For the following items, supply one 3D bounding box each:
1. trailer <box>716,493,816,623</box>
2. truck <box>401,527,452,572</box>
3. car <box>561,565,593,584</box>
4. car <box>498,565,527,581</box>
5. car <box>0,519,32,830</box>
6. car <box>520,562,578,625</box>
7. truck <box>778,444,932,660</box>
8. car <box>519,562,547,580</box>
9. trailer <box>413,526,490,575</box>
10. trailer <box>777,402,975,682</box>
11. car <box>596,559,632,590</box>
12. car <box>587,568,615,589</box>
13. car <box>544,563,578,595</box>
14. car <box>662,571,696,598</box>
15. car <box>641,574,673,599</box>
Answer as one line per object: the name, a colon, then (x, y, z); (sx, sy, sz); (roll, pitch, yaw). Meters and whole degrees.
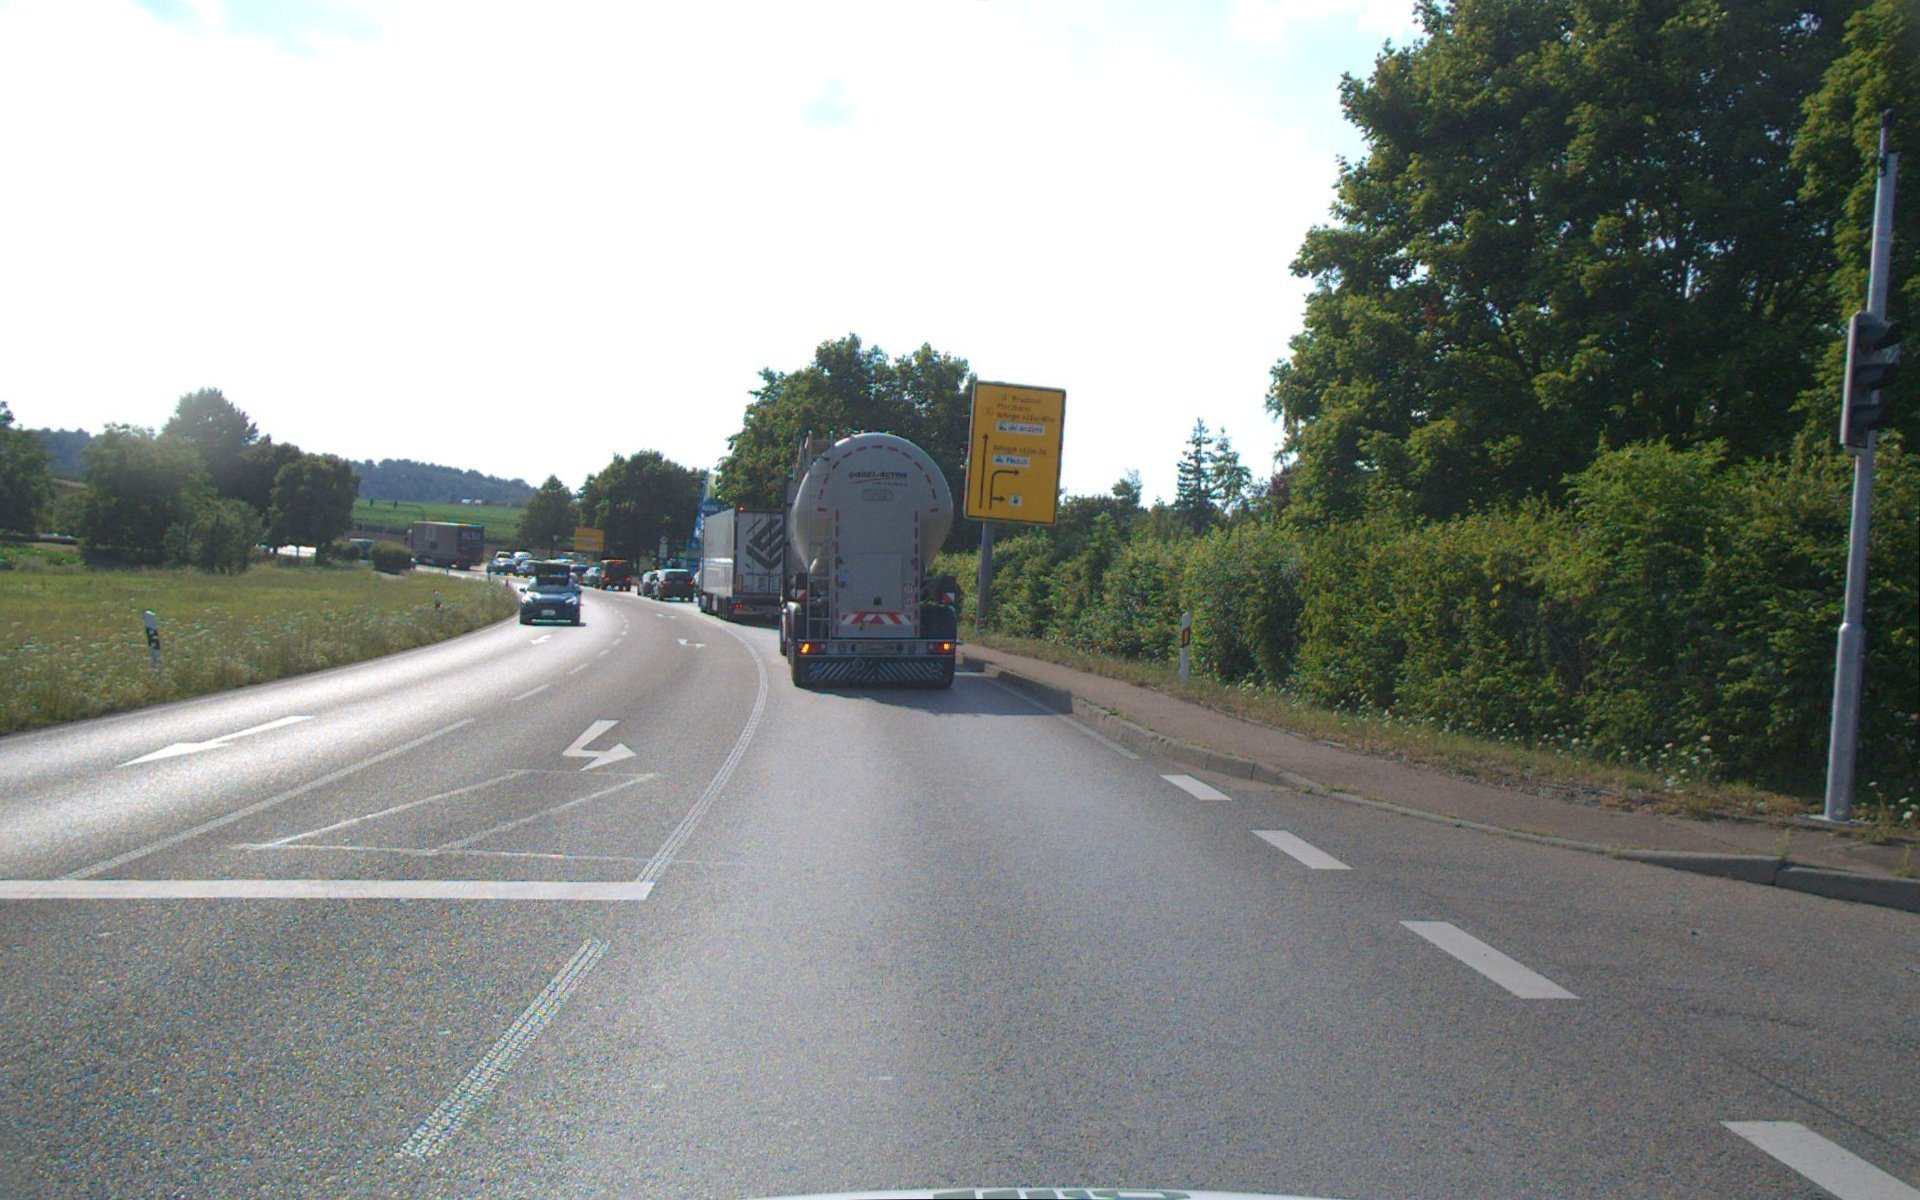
trailer: (-7.783, -1.561, 64.553); (2.901, 4.390, 14.142); (2, 1, -10)
truck: (-54.149, -5.129, 167.799); (3.345, 4.426, 5.641); (2, 0, -33)
car: (-29.205, -1.943, 125.954); (1.562, 1.364, 3.395); (2, 1, -28)
car: (-39.305, -2.372, 145.252); (1.749, 1.226, 3.395); (2, 1, -28)
car: (-6.324, 0.457, 7.741); (1.844, 1.807, 4.317); (0, 1, -5)
car: (-13.015, -0.219, 52.578); (1.695, 1.915, 4.321); (0, 1, -13)
truck: (-2.221, -0.933, 33.635); (2.854, 4.076, 4.054); (1, 0, -6)
car: (-35.951, -2.432, 139.159); (1.562, 1.364, 3.395); (2, 1, -28)
trailer: (-49.534, -4.861, 160.678); (3.345, 4.426, 14.131); (2, 1, -33)
trailer: (-1.762, -0.905, 29.408); (2.854, 4.076, 9.917); (1, 1, -6)
car: (-23.539, -1.743, 112.388); (1.835, 2.048, 3.696); (1, 1, -21)
car: (-26.002, -1.561, 119.625); (1.395, 1.458, 3.124); (1, -1, -24)
car: (-19.184, -1.000, 79.591); (1.558, 1.492, 3.595); (0, 1, -13)
car: (-15.452, -0.844, 90.899); (1.553, 1.364, 3.414); (2, 1, -14)
car: (-18.104, -0.836, 98.837); (1.554, 1.364, 3.411); (2, 1, -16)
